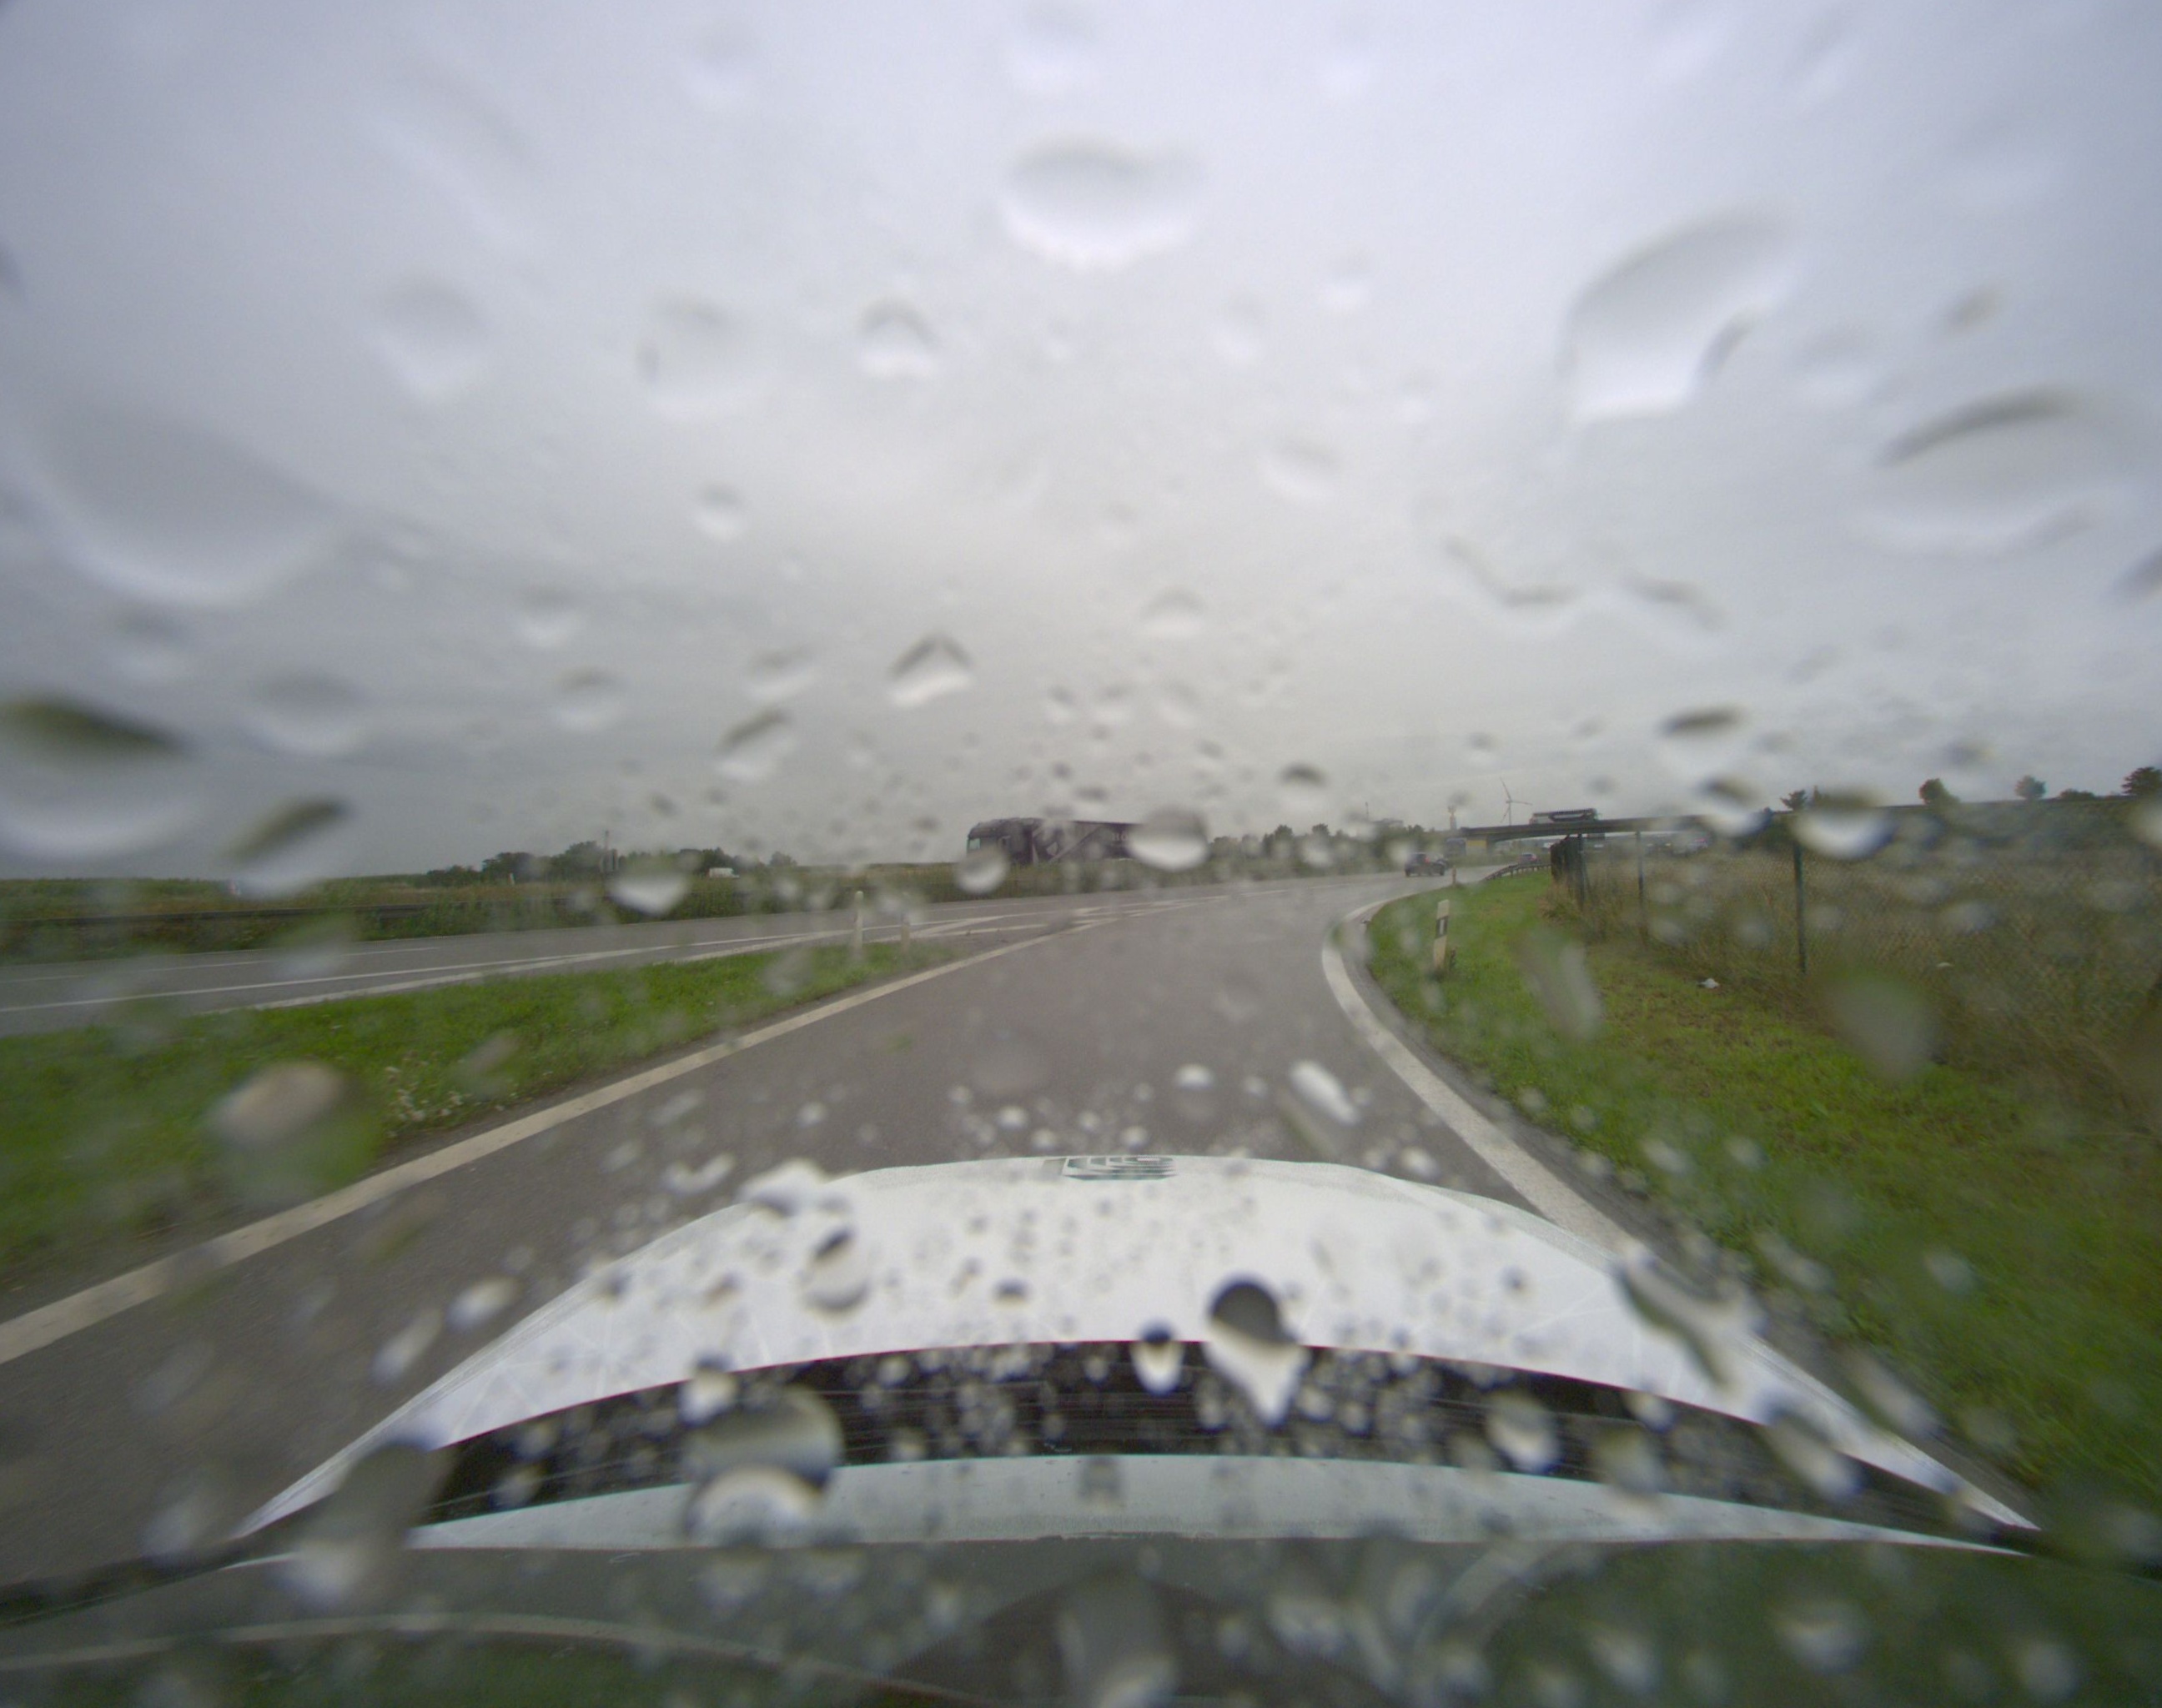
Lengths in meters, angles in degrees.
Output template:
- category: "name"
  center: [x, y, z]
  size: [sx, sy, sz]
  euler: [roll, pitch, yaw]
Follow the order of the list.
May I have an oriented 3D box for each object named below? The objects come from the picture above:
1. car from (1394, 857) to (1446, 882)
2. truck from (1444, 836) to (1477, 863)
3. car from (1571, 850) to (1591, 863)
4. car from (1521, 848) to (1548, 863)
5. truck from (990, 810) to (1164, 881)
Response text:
- category: "car"
  center: [23.224, 1.071, 55.718]
  size: [2.124, 1.636, 4.624]
  euler: [-1, -1, 38]
- category: "truck"
  center: [59.133, -0.708, 126.821]
  size: [3.163, 3.966, 6.705]
  euler: [1, 1, 38]
- category: "car"
  center: [74.203, 0.370, 120.742]
  size: [1.974, 1.697, 4.026]
  euler: [-5, -1, 38]
- category: "car"
  center: [50.912, 0.130, 91.377]
  size: [2.033, 1.636, 4.377]
  euler: [-1, -1, 38]
- category: "truck"
  center: [0.220, -0.509, 52.166]
  size: [3.163, 3.966, 13.900]
  euler: [1, 1, 38]
